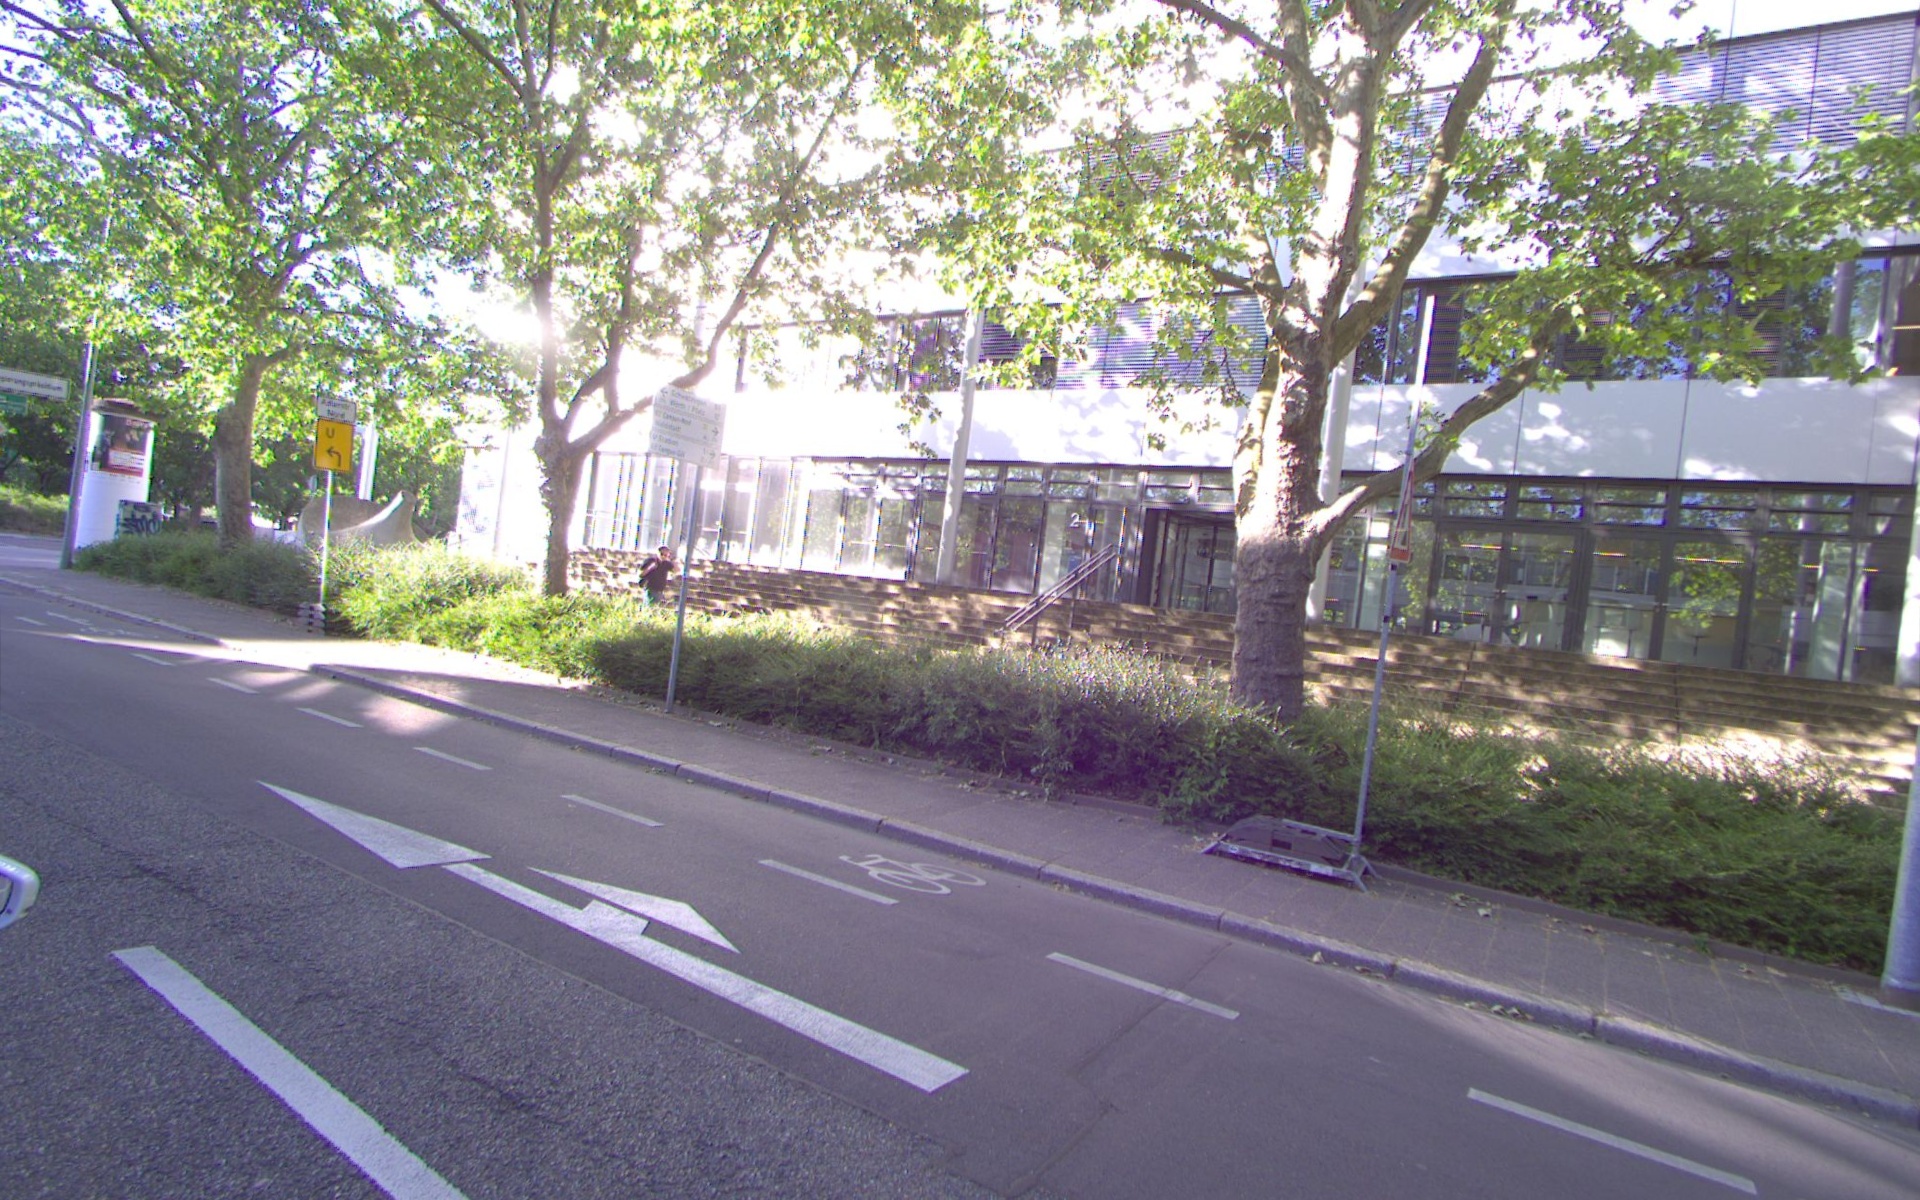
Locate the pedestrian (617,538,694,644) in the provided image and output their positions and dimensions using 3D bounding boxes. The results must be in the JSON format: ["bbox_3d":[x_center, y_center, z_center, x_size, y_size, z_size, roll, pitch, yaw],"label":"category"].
[{"bbox_3d":[-5.581,-0.165,18.434,0.848,1.802,0.785,7,0,30],"label":"pedestrian"}]
